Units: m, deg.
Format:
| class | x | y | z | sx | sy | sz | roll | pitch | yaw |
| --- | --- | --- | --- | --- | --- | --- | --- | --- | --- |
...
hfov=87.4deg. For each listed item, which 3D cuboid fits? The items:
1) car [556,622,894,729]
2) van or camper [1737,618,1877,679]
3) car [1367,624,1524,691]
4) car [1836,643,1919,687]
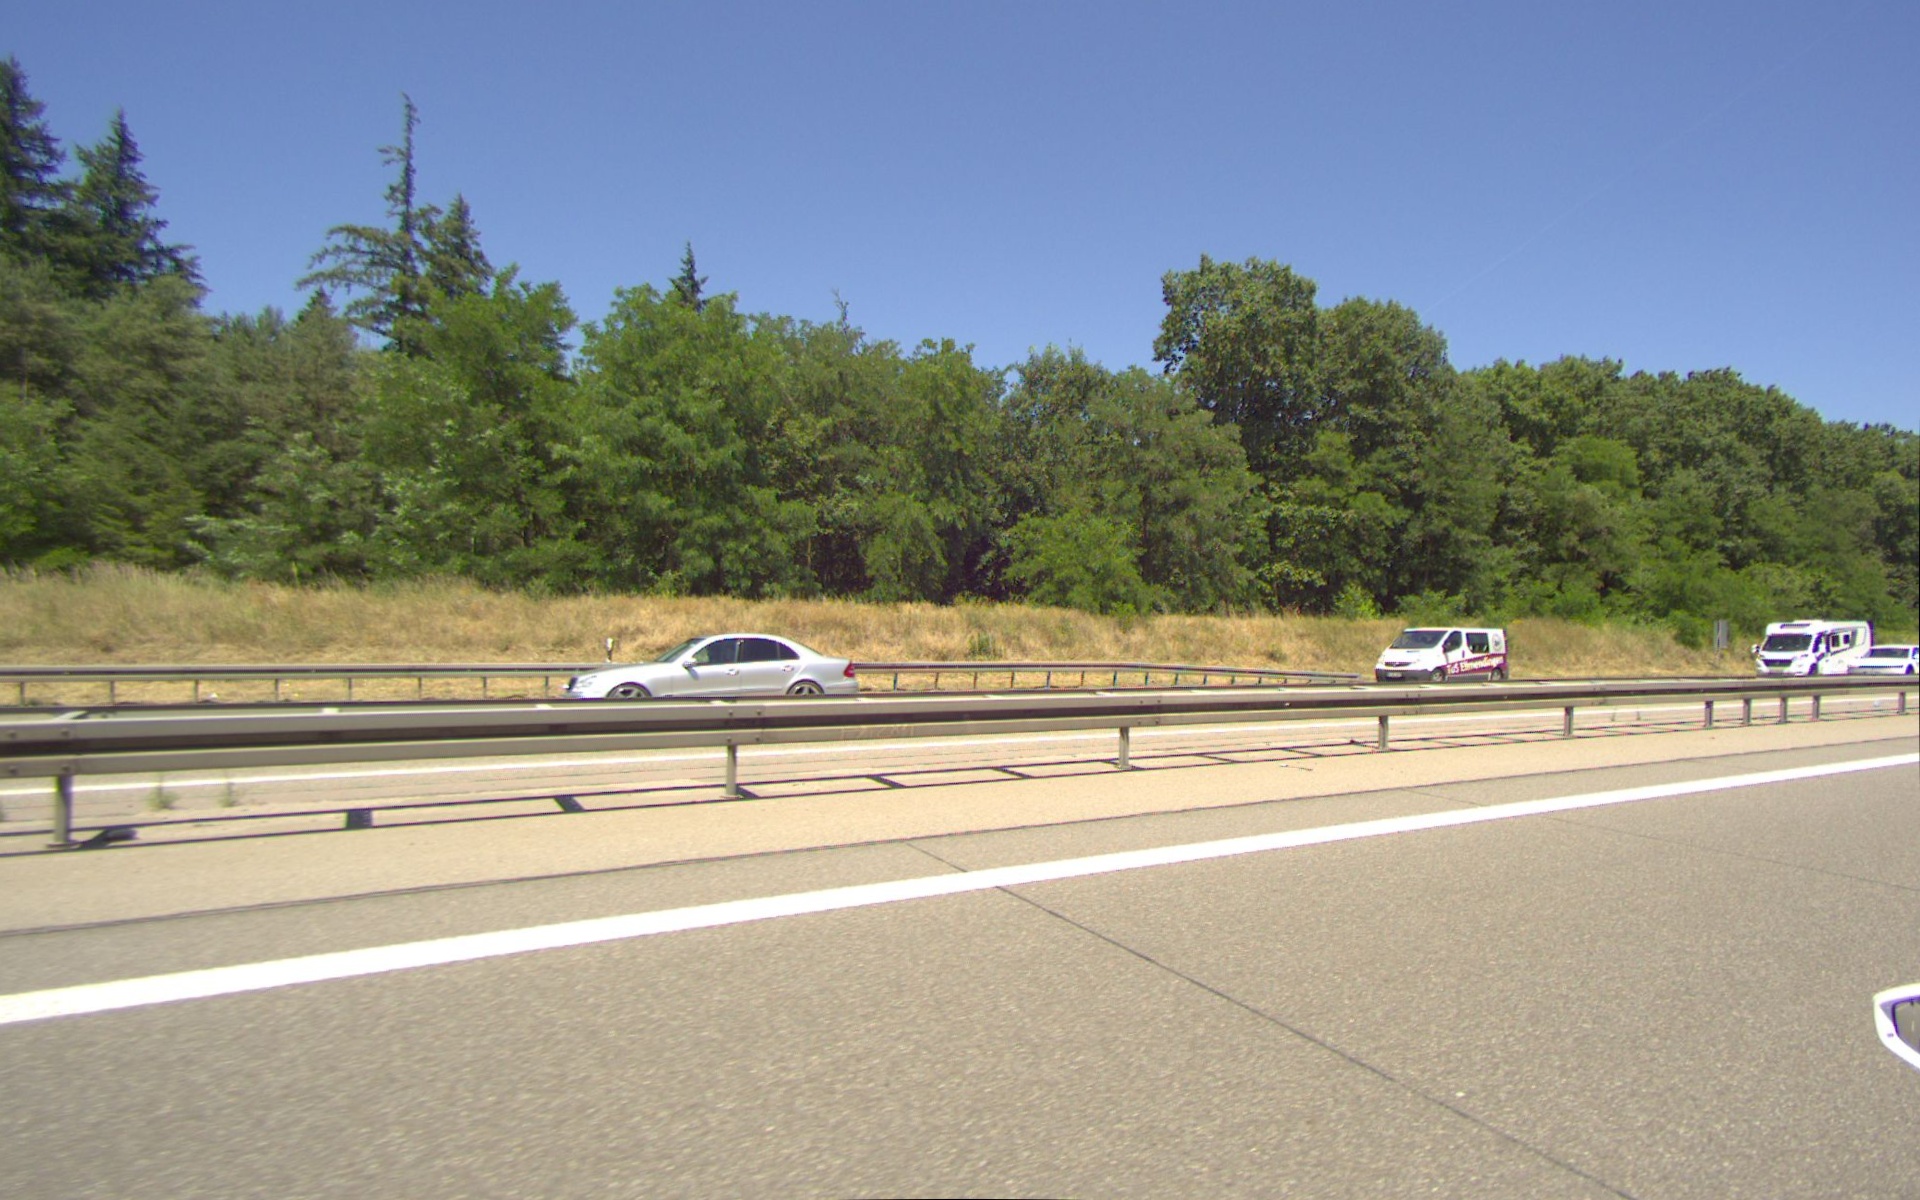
| class | x | y | z | sx | sy | sz | roll | pitch | yaw |
| --- | --- | --- | --- | --- | --- | --- | --- | --- | --- |
| car | -3.804 | 1.194 | 16.667 | 5.146 | 1.547 | 1.842 | 2 | -2 | -32 |
| van or camper | 38.997 | 2.257 | 46.197 | 7.679 | 2.608 | 2.451 | 2 | -3 | -30 |
| car | 15.563 | 1.837 | 32.133 | 5.183 | 1.978 | 1.985 | 2 | -3 | -30 |
| car | 38.407 | 2.641 | 41.350 | 5.183 | 1.716 | 1.985 | 2 | -3 | -30 |
